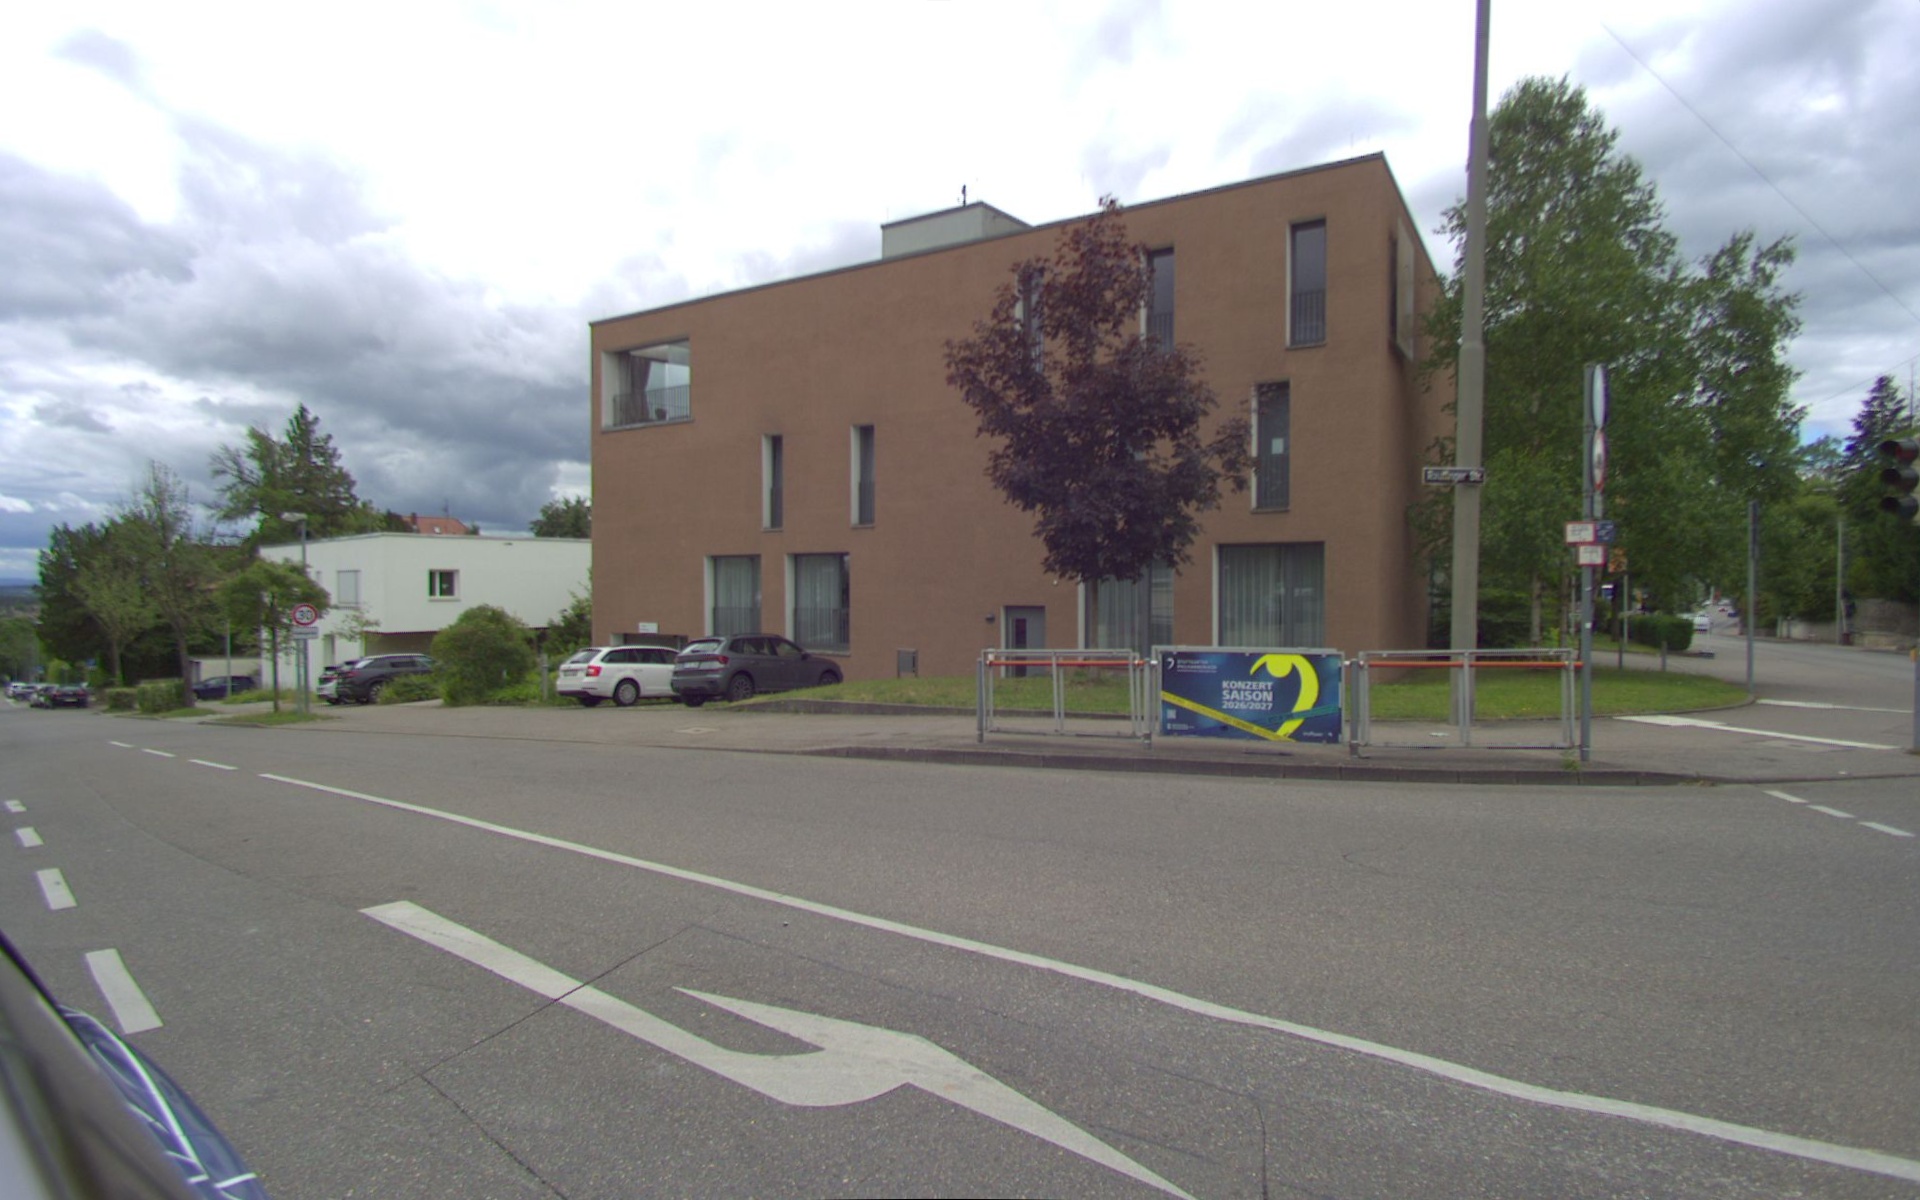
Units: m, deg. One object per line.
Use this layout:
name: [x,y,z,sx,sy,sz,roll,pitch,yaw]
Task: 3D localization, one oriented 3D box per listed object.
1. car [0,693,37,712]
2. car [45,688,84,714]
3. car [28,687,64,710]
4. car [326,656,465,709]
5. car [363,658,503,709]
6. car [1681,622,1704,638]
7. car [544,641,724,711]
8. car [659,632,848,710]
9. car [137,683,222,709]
car: [-82.713,8.898,87.273,4.296,1.432,1.889,-1,-2,-12]
car: [-54.940,6.178,62.066,1.638,1.432,4.003,0,-4,-44]
car: [-61.562,6.637,68.144,1.638,1.432,4.371,0,-4,-44]
car: [-19.980,2.903,35.932,1.793,1.608,3.943,-6,-4,43]
car: [-18.237,2.883,35.147,1.727,1.497,3.943,-6,-4,43]
car: [83.840,3.426,115.847,1.807,1.724,3.993,-1,-2,31]
car: [-8.003,1.846,25.120,1.724,1.497,3.950,-5,-4,37]
car: [-4.503,1.530,22.517,1.724,1.497,3.950,-5,-4,37]
car: [-46.977,5.745,60.932,3.939,1.296,1.665,0,-4,-43]
